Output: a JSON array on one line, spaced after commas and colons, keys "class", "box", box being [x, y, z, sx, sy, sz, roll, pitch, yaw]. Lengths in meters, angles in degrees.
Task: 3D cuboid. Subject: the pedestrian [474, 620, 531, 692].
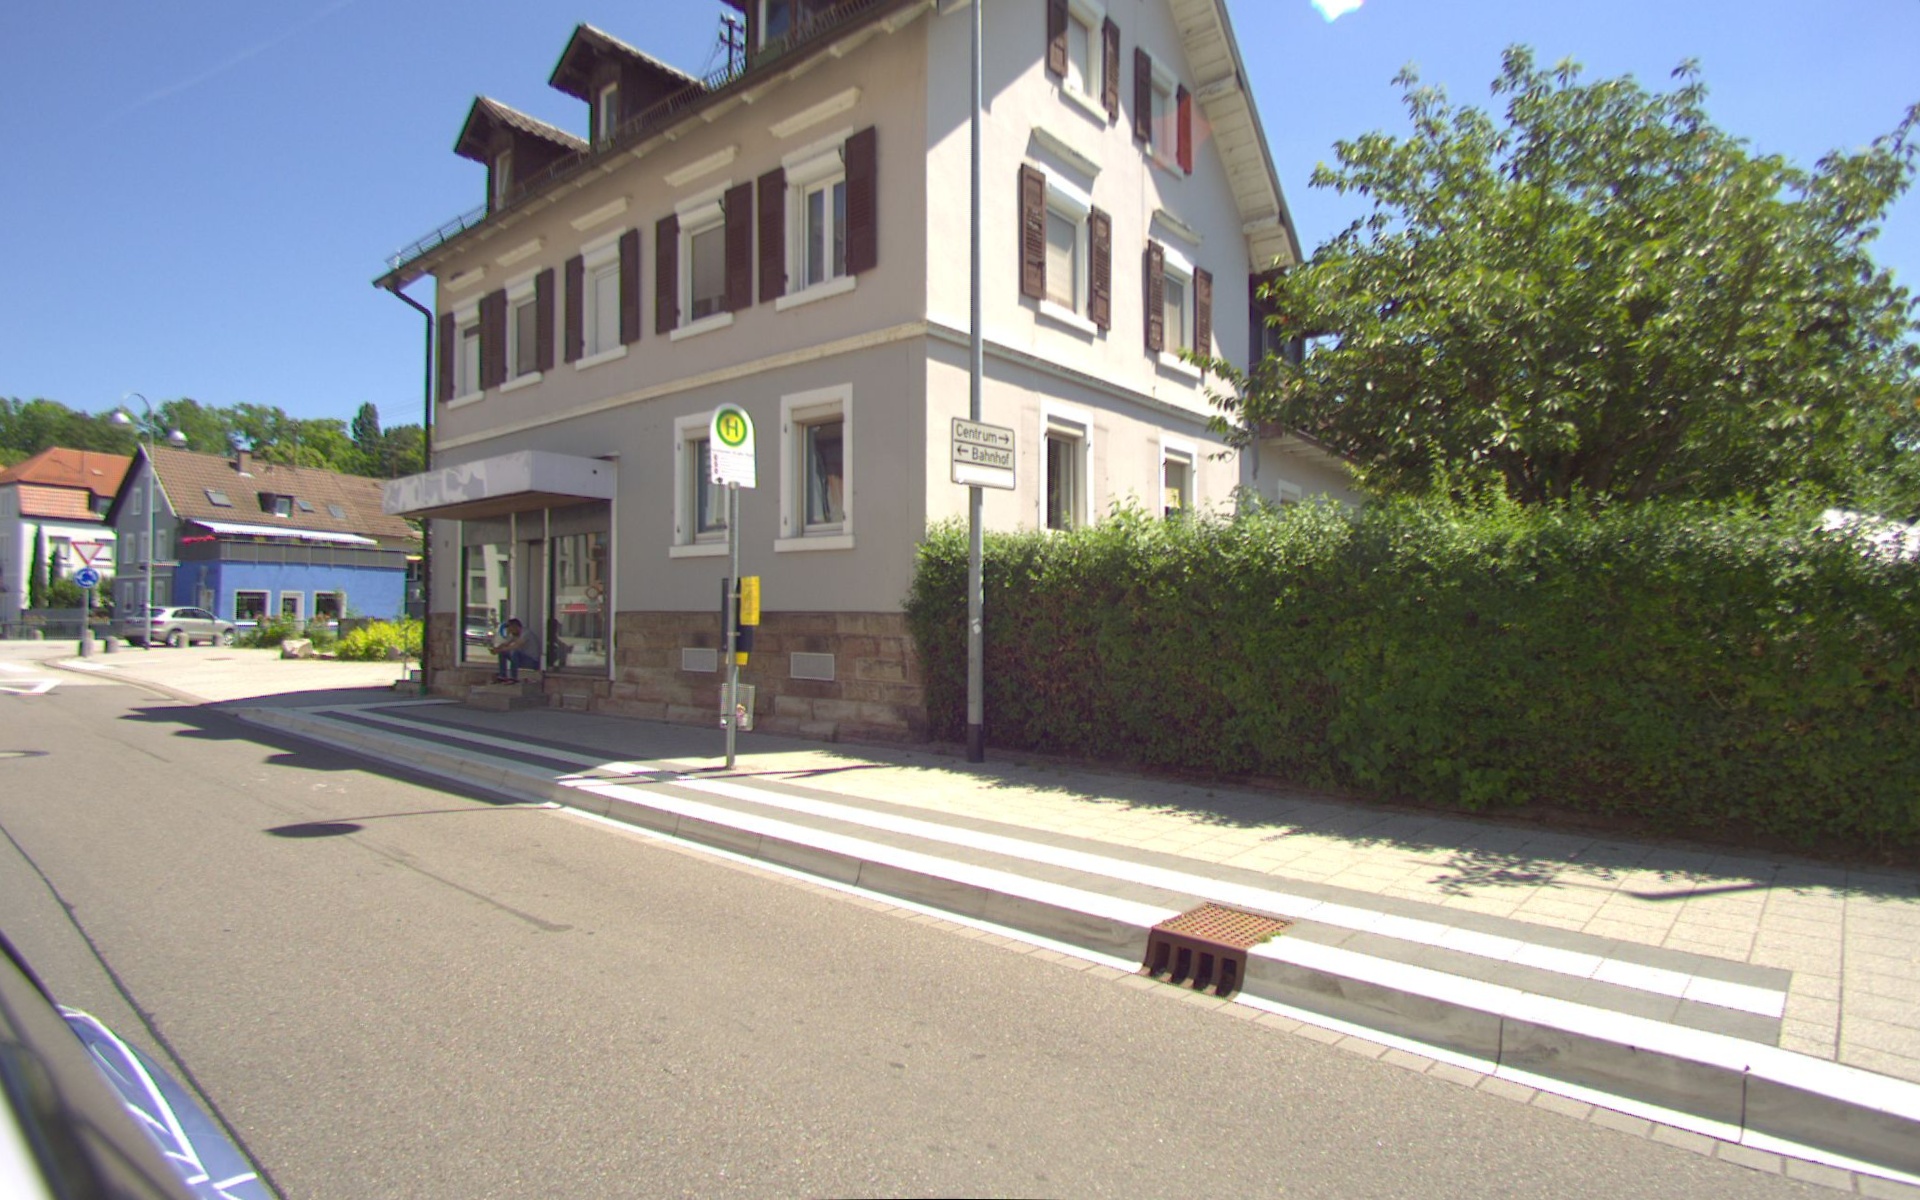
[{"class": "pedestrian", "box": [-7.015, 0.848, 15.518, 0.566, 1.067, 0.590, -1, -2, 38]}]

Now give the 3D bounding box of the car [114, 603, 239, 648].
[{"class": "car", "box": [-31.193, 1.049, 40.440, 1.792, 1.620, 3.914, 3, -2, 2]}]

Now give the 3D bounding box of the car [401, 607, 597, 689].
[{"class": "car", "box": [-10.205, 1.019, 22.615, 1.600, 1.674, 3.677, -1, -1, 36]}]
